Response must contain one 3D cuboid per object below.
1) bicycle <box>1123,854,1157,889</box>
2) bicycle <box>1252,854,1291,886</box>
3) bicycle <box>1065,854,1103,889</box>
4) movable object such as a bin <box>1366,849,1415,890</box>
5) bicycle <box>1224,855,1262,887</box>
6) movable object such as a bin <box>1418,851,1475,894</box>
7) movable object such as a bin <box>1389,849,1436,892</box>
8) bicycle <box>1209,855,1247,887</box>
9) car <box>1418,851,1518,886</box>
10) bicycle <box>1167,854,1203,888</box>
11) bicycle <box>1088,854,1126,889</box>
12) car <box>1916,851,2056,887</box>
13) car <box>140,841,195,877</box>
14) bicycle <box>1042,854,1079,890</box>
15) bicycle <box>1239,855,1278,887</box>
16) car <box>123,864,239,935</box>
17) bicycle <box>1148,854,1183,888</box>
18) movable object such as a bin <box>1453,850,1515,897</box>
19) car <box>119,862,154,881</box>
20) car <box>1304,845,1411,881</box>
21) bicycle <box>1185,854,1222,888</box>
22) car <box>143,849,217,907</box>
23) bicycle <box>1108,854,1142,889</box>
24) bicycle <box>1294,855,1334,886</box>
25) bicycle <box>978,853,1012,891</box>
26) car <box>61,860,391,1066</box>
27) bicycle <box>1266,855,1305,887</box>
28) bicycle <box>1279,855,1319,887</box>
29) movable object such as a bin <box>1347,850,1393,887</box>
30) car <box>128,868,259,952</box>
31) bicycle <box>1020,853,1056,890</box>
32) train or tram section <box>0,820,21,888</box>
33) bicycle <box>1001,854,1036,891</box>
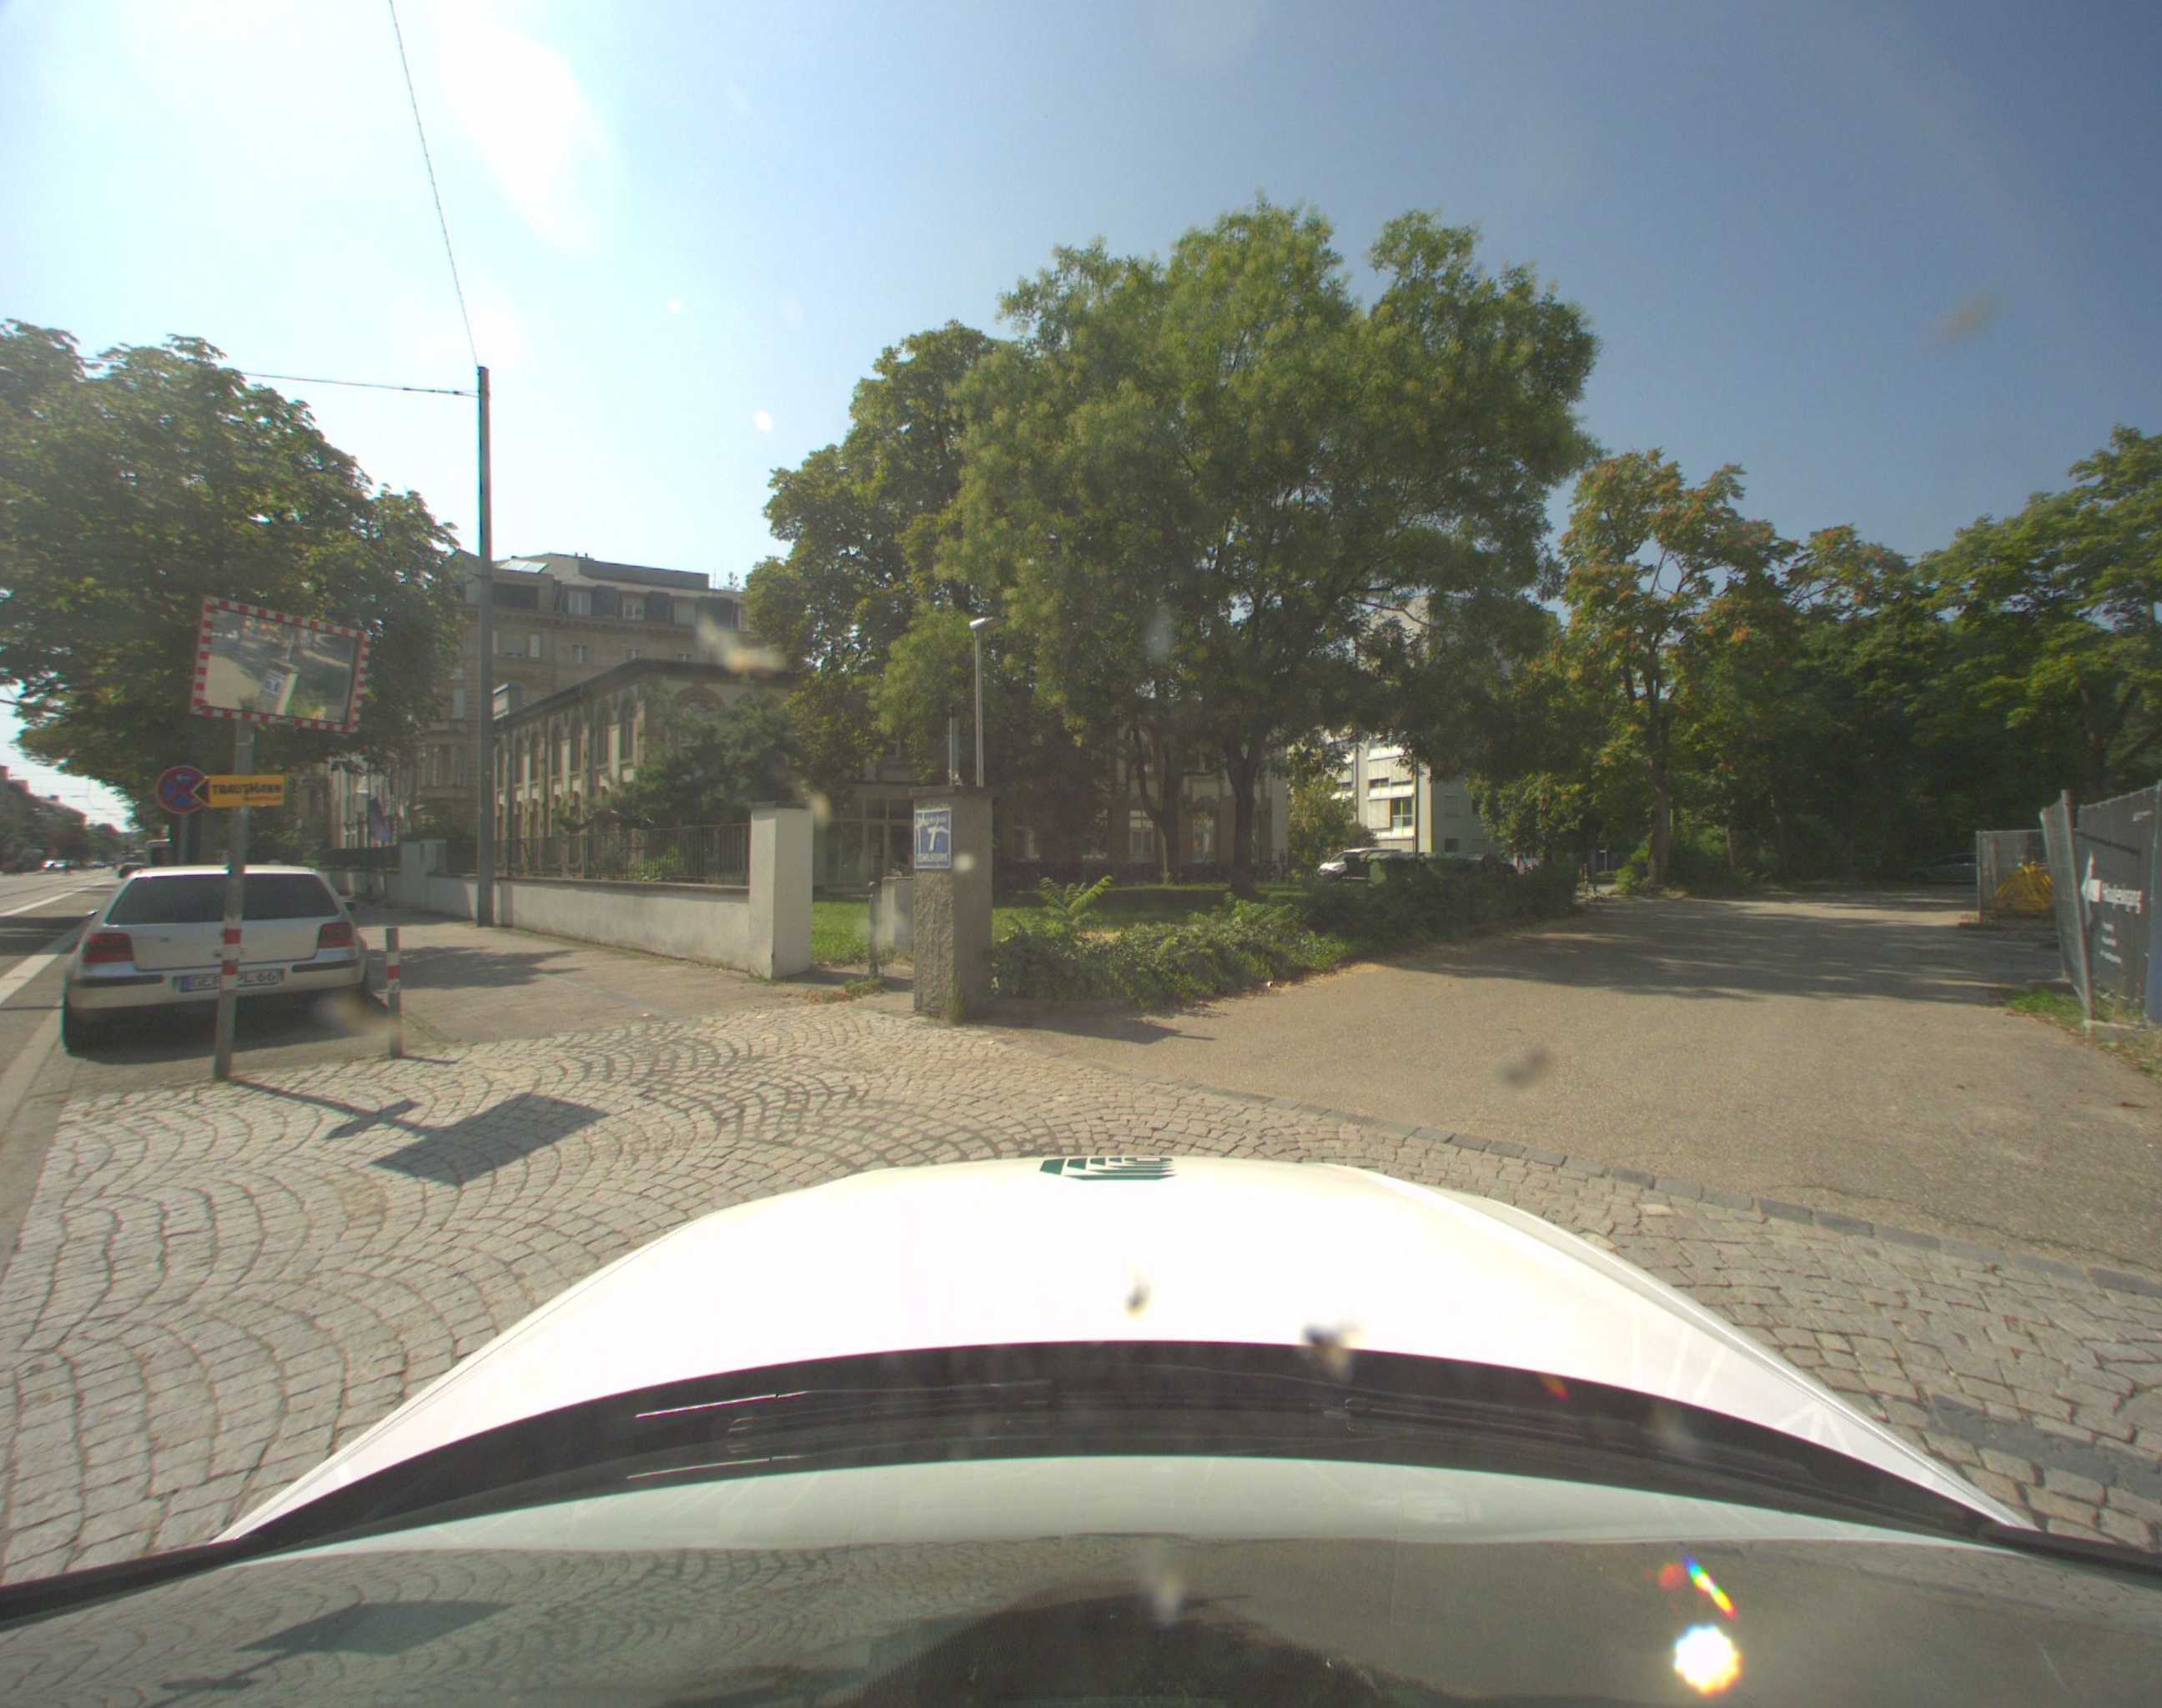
[{"bbox_3d":[2.313,0.685,32.183,0.608,1.303,2.161,0,-1,-17],"label":"bicycle"},{"bbox_3d":[7.985,0.688,34.245,0.608,1.303,2.161,0,-1,-17],"label":"bicycle"},{"bbox_3d":[0.081,0.671,31.273,0.771,1.303,2.511,0,-1,-17],"label":"bicycle"},{"bbox_3d":[11.647,0.561,30.685,1.252,1.495,1.196,1,0,-27],"label":"movable object such as a bin"},{"bbox_3d":[6.691,0.692,33.799,0.608,1.303,2.161,0,-1,-17],"label":"bicycle"},{"bbox_3d":[12.679,0.624,28.269,1.252,1.431,1.320,1,0,-27],"label":"movable object such as a bin"},{"bbox_3d":[11.907,0.588,29.256,1.103,1.481,1.092,1,0,-27],"label":"movable object such as a bin"},{"bbox_3d":[6.016,0.689,33.410,0.608,1.303,2.161,0,-1,-17],"label":"bicycle"},{"bbox_3d":[17.320,0.645,36.505,3.906,1.528,1.699,0,0,-15],"label":"car"},{"bbox_3d":[4.150,0.685,32.760,0.608,1.303,2.161,0,-1,-17],"label":"bicycle"},{"bbox_3d":[0.985,0.677,31.610,0.771,1.303,2.260,0,-1,-17],"label":"bicycle"},{"bbox_3d":[44.102,0.688,39.812,2.000,1.612,4.134,0,1,-19],"label":"car"},{"bbox_3d":[-58.769,0.331,52.371,3.948,2.233,2.013,0,0,37],"label":"car"},{"bbox_3d":[-0.791,0.671,30.650,0.771,1.303,2.511,0,-1,-17],"label":"bicycle"},{"bbox_3d":[7.369,0.708,33.922,0.608,1.303,2.161,0,-1,-17],"label":"bicycle"},{"bbox_3d":[-22.369,1.042,20.368,3.950,1.577,1.811,0,-1,44],"label":"car"},{"bbox_3d":[3.367,0.688,32.680,0.608,1.303,2.161,0,-1,-17],"label":"bicycle"},{"bbox_3d":[13.245,0.612,26.789,1.341,1.493,1.358,1,0,-35],"label":"movable object such as a bin"},{"bbox_3d":[-89.438,1.631,77.181,3.949,1.801,2.012,-1,-1,42],"label":"car"},{"bbox_3d":[14.983,0.493,44.192,5.082,1.881,2.487,0,0,-18],"label":"car"},{"bbox_3d":[4.959,0.682,33.085,0.608,1.303,2.161,0,-1,-17],"label":"bicycle"},{"bbox_3d":[-38.604,0.997,34.934,3.949,2.365,2.012,-1,-2,42],"label":"car"},{"bbox_3d":[1.699,0.685,31.933,0.626,1.303,2.260,0,-1,-17],"label":"bicycle"},{"bbox_3d":[10.003,0.715,35.077,0.608,1.303,2.161,0,-1,-17],"label":"bicycle"},{"bbox_3d":[-3.149,0.643,29.697,0.771,1.303,2.511,0,-1,-17],"label":"bicycle"},{"bbox_3d":[-8.026,0.801,7.815,3.686,1.446,1.808,-1,0,45],"label":"car"},{"bbox_3d":[8.632,0.724,34.482,0.608,1.303,2.161,0,-1,-17],"label":"bicycle"},{"bbox_3d":[9.279,0.708,34.705,0.608,1.303,2.161,0,-1,-17],"label":"bicycle"},{"bbox_3d":[11.516,0.565,32.470,1.252,1.444,1.196,1,0,-27],"label":"movable object such as a bin"},{"bbox_3d":[-18.112,1.048,16.657,3.595,1.512,1.656,-1,-1,42],"label":"car"},{"bbox_3d":[-1.609,0.650,30.241,0.771,1.303,2.511,0,-1,-17],"label":"bicycle"},{"bbox_3d":[-60.532,-0.034,43.489,12.256,3.704,3.529,0,-1,43],"label":"train or tram section"},{"bbox_3d":[-2.323,0.658,29.833,0.771,1.303,2.511,0,-1,-17],"label":"bicycle"}]
